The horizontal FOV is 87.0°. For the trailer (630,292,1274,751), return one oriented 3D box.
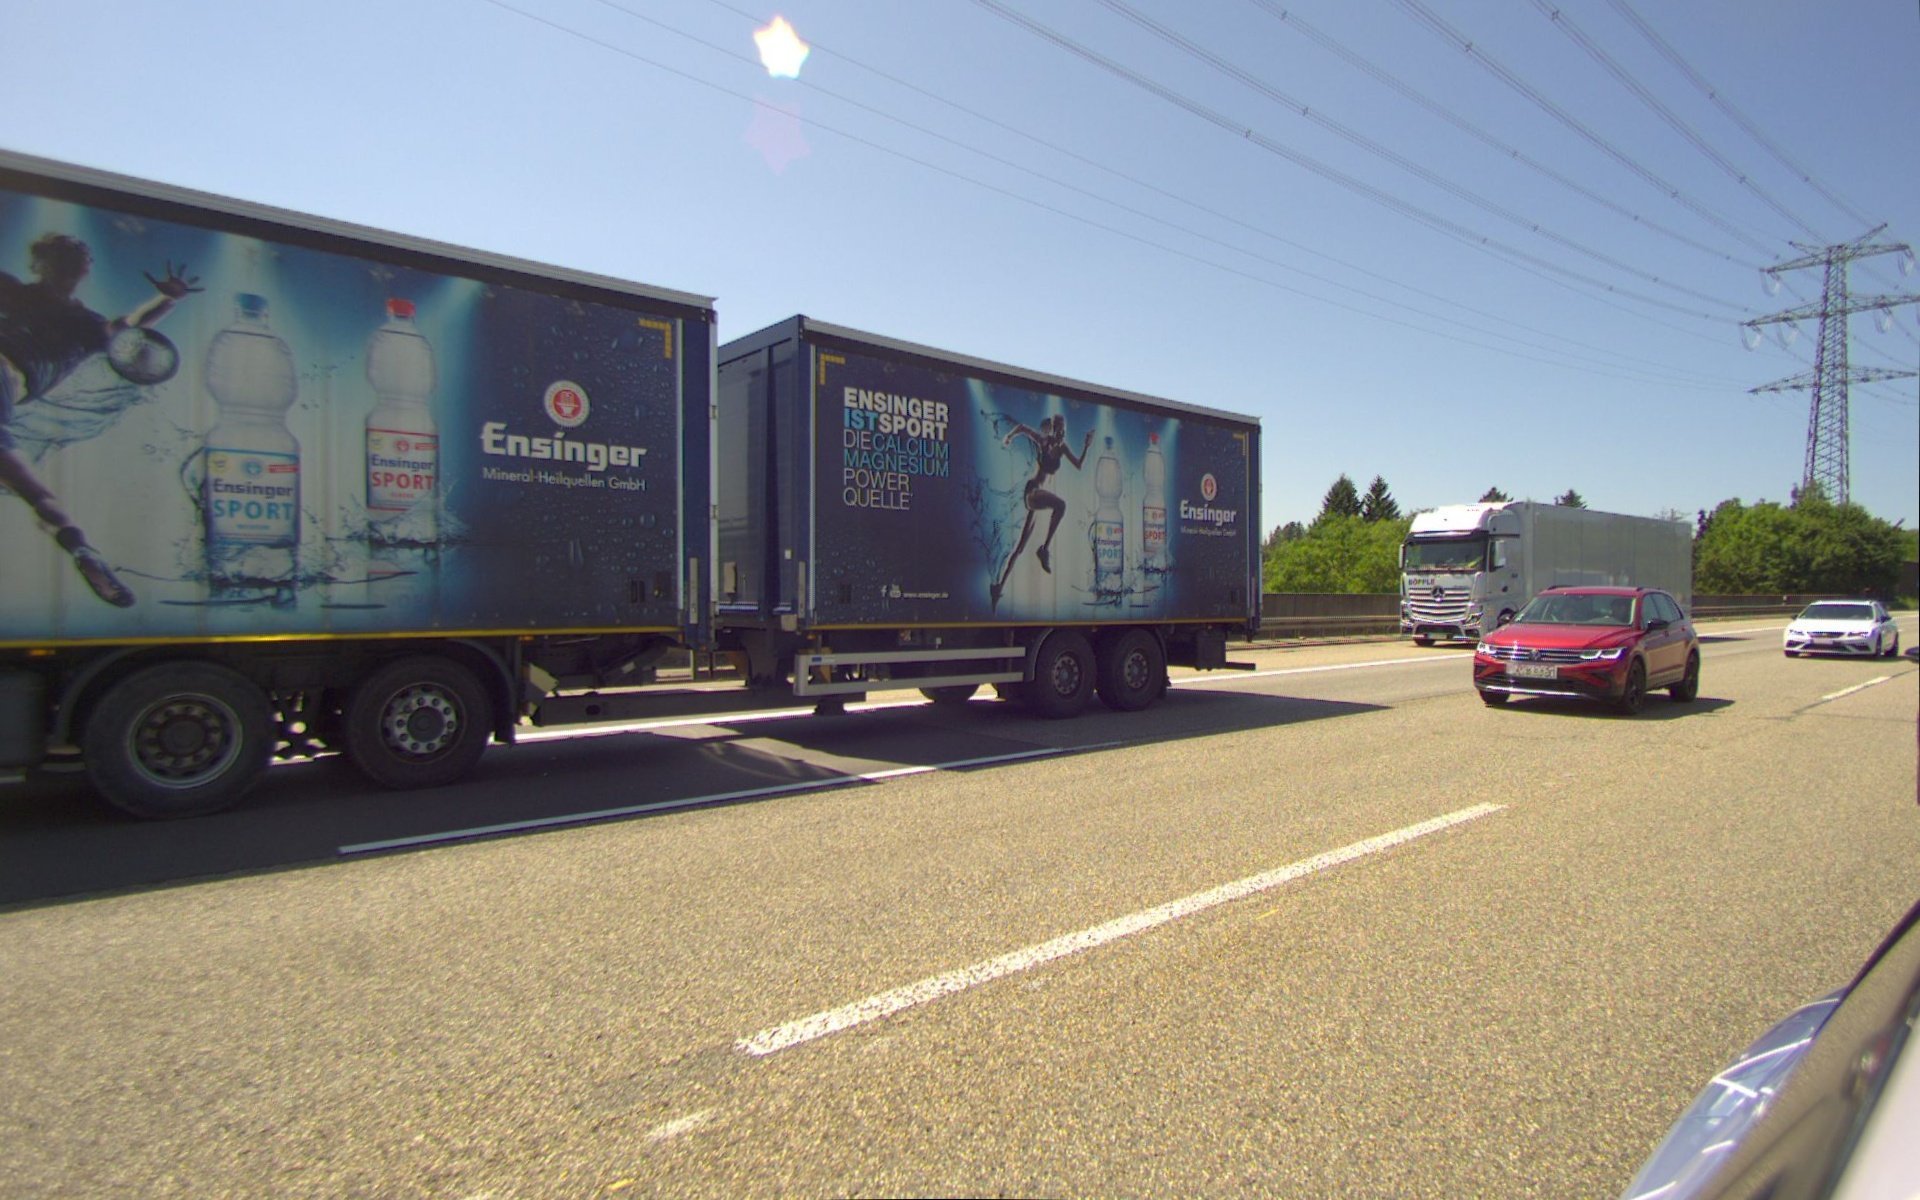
[{"bbox_3d":[0.457,-0.715,12.525,8.331,3.994,2.570,0,0,-41],"label":"trailer"}]

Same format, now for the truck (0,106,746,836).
[{"bbox_3d":[-6.548,-0.734,6.397,10.264,4.118,2.527,0,0,-41],"label":"truck"}]

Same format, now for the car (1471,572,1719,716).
[{"bbox_3d":[8.818,0.493,13.924,4.151,1.683,1.778,0,1,-41],"label":"car"}]

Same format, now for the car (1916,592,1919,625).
[{"bbox_3d":[45.083,0.393,46.091,4.135,1.463,1.739,0,1,-40],"label":"car"}]

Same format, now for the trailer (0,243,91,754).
[{"bbox_3d":[-13.325,-0.809,5.362,13.190,4.194,2.719,0,0,-41],"label":"trailer"}]

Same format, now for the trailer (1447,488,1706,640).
[{"bbox_3d":[20.414,-1.026,32.850,13.520,4.172,2.542,0,0,-38],"label":"trailer"}]

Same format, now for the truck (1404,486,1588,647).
[{"bbox_3d":[15.415,-0.922,28.969,5.611,4.171,2.523,0,1,-38],"label":"truck"}]

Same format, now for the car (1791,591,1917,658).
[{"bbox_3d":[22.259,0.547,25.148,4.001,1.508,1.841,-1,0,-41],"label":"car"}]
